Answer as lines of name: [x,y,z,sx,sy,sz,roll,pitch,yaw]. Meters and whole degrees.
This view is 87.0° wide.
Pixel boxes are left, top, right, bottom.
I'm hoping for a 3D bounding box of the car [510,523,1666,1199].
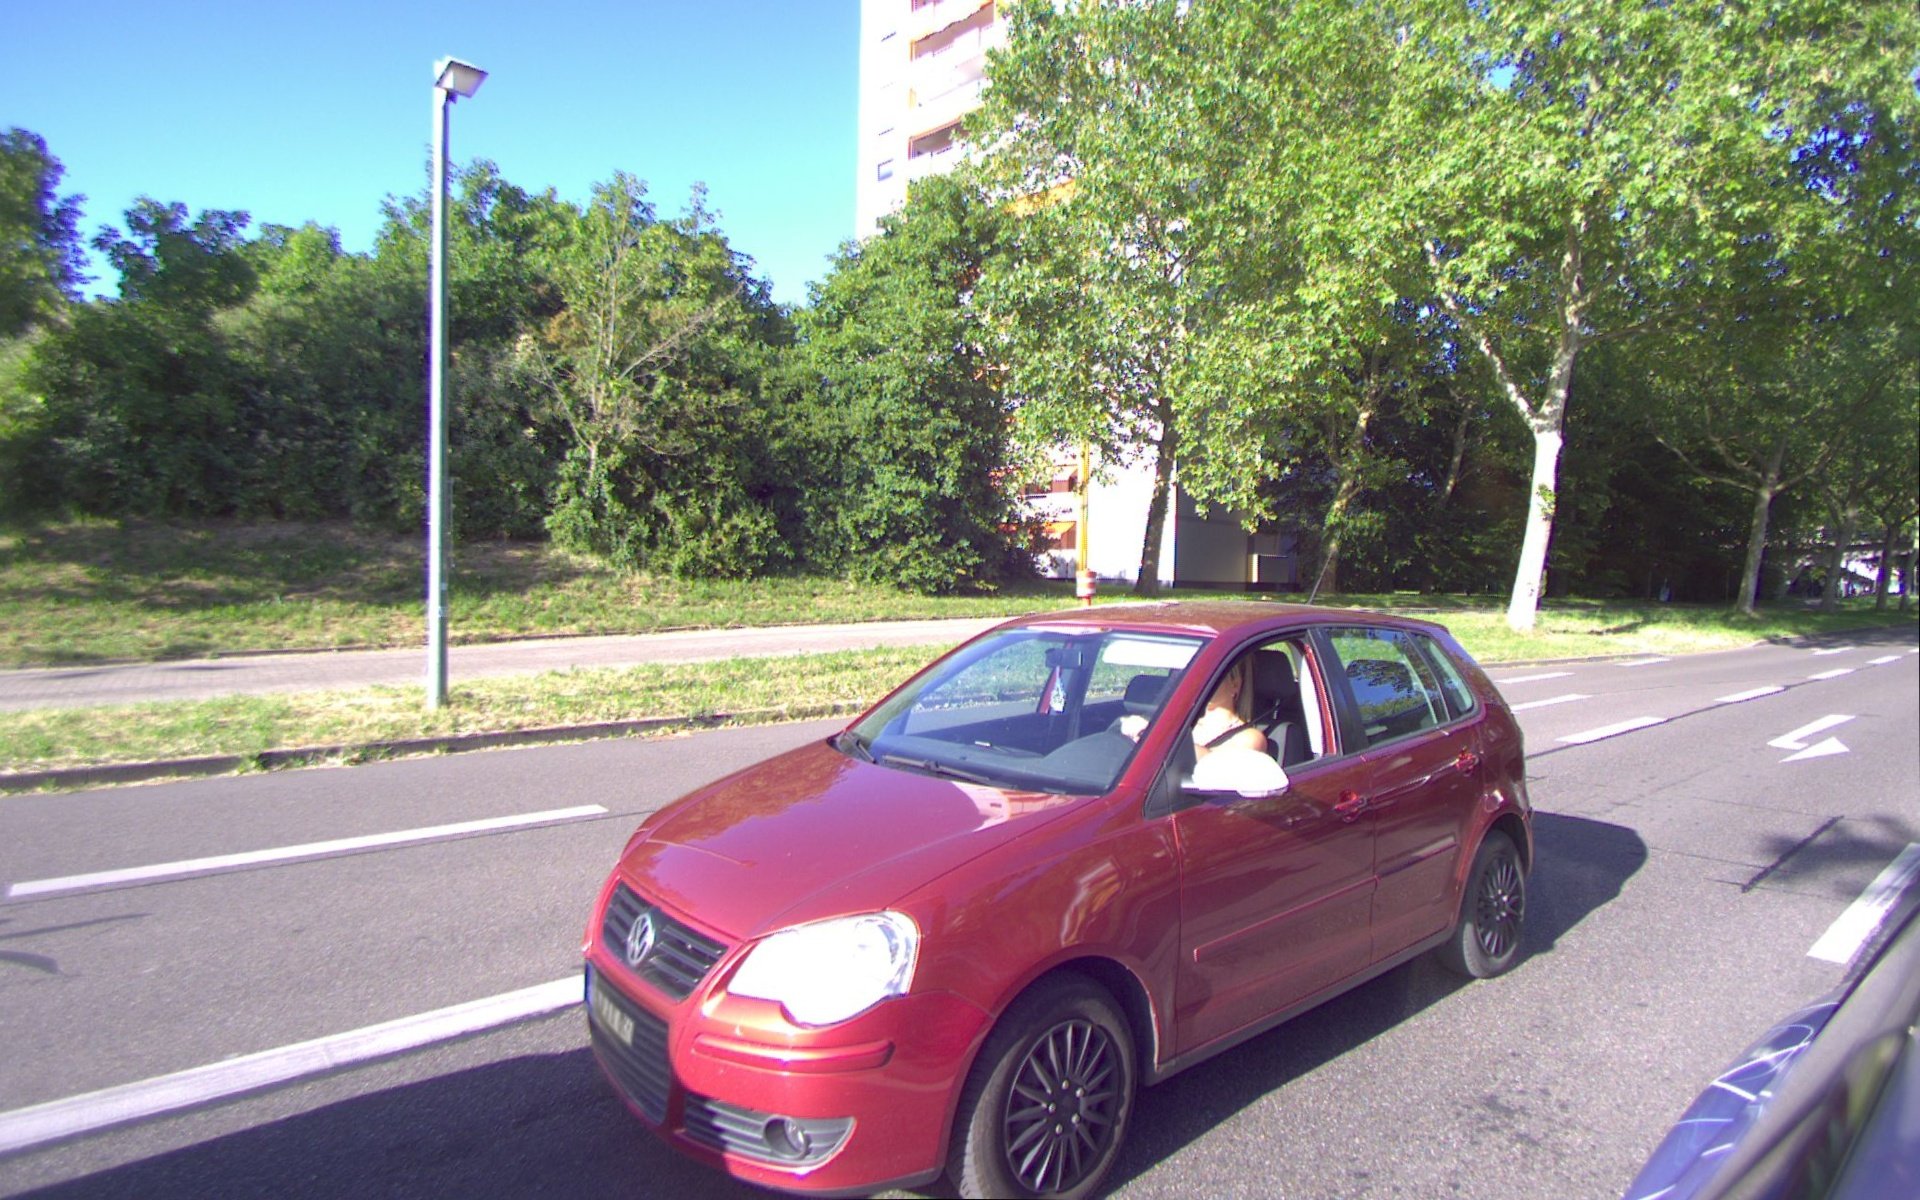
car: [0.928,0.623,3.971,4.641,1.578,1.772,0,1,-39]
